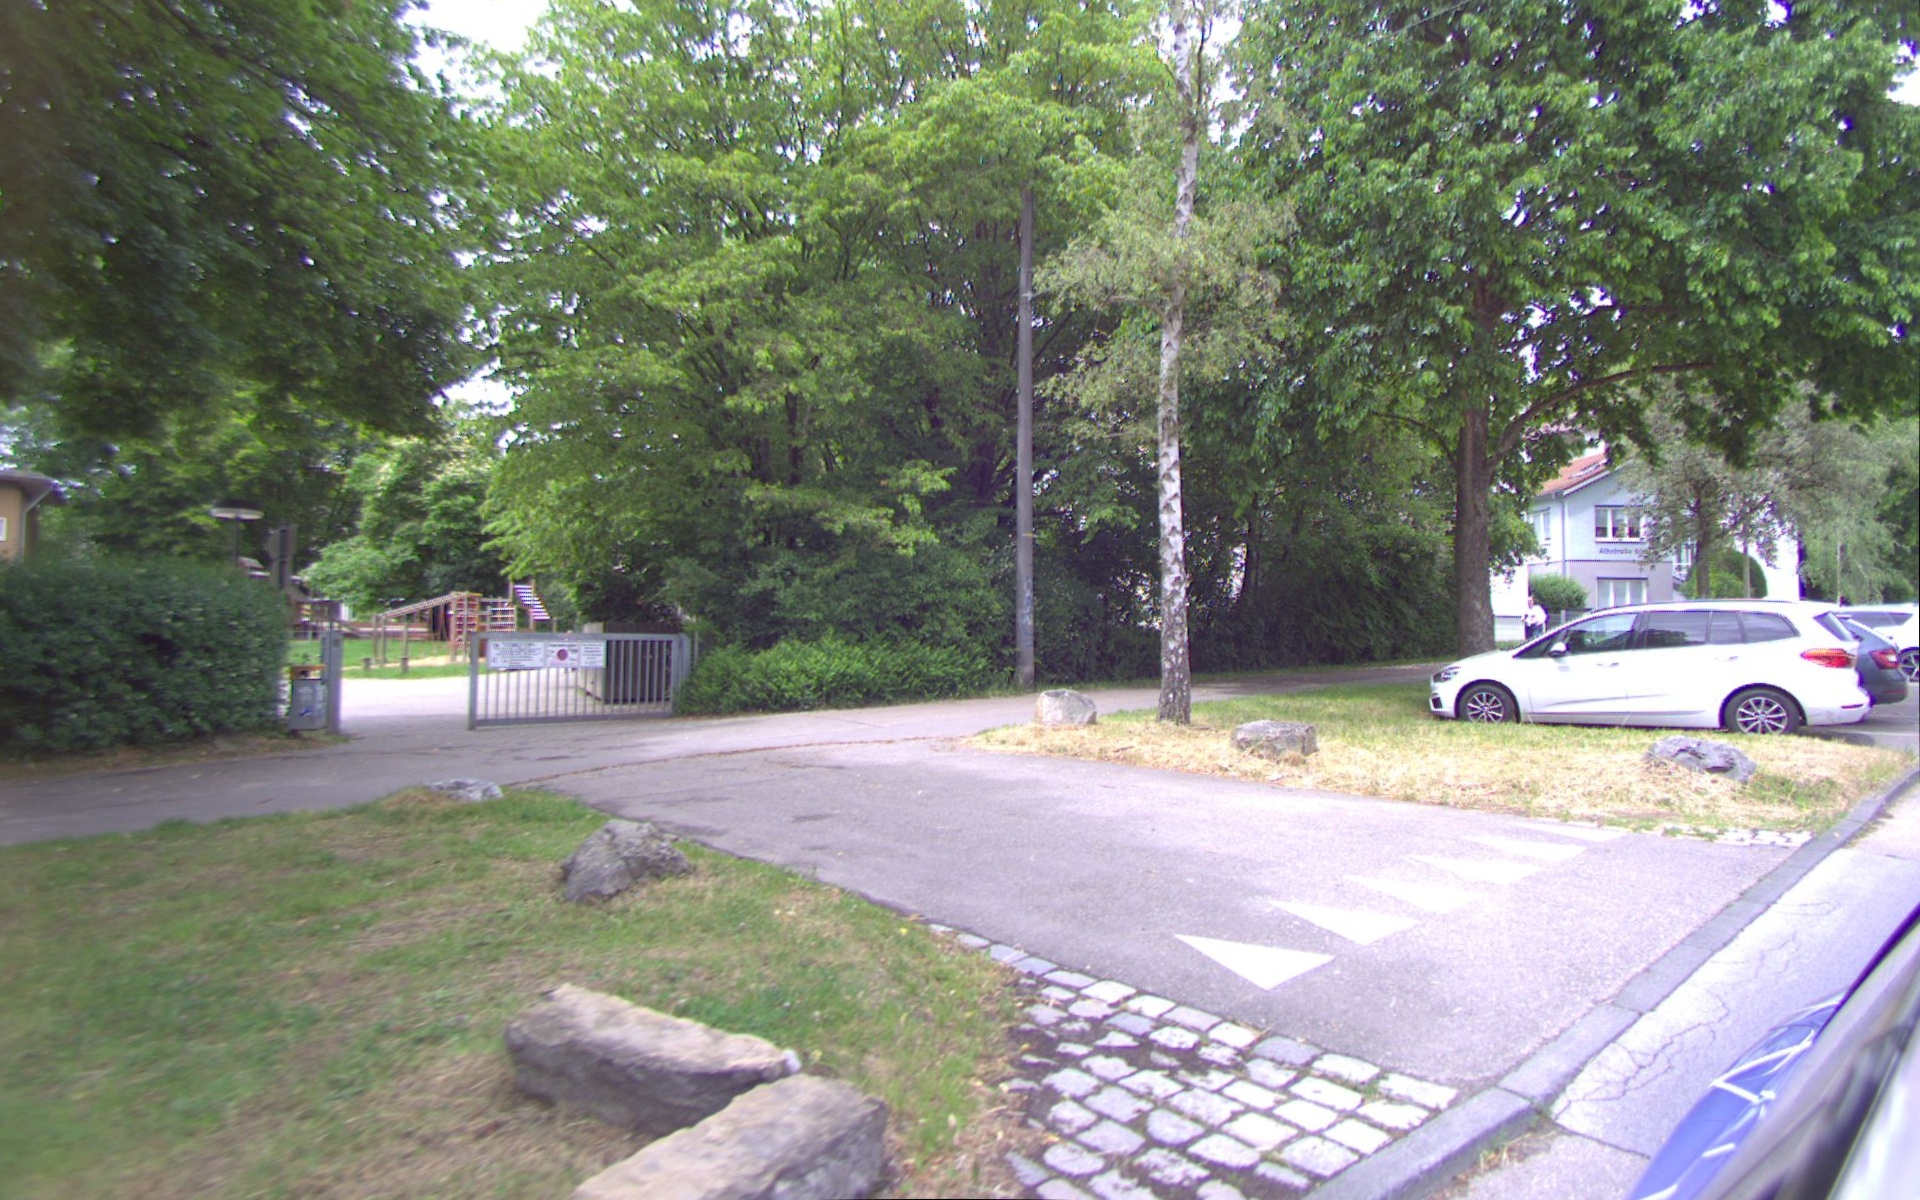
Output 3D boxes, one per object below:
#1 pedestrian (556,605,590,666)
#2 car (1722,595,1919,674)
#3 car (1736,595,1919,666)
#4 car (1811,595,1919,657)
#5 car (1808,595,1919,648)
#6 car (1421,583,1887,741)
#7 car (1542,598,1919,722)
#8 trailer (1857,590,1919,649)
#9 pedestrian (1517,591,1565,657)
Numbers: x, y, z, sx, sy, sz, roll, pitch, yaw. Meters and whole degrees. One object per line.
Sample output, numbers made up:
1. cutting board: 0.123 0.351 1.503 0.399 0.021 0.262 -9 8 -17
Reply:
1. pedestrian: -11.911 1.072 31.142 0.710 1.848 0.865 0 0 0
2. car: 18.067 0.693 20.597 3.974 1.483 1.842 -3 -2 36
3. car: 19.775 0.670 22.425 3.975 1.483 1.772 -3 -2 37
4. car: 24.273 0.629 25.465 3.959 1.483 1.834 -2 -1 26
5. car: 27.544 0.603 29.526 3.964 1.483 1.773 -2 -1 29
6. car: 8.358 0.701 12.515 4.464 1.606 1.878 -3 -2 42
7. car: 10.534 0.787 14.010 4.119 1.483 1.775 -3 -2 36
8. trailer: 26.813 0.518 27.093 3.975 1.572 1.637 -1 -1 36
9. pedestrian: 14.876 0.612 25.925 0.762 1.665 0.695 0 -1 -17
